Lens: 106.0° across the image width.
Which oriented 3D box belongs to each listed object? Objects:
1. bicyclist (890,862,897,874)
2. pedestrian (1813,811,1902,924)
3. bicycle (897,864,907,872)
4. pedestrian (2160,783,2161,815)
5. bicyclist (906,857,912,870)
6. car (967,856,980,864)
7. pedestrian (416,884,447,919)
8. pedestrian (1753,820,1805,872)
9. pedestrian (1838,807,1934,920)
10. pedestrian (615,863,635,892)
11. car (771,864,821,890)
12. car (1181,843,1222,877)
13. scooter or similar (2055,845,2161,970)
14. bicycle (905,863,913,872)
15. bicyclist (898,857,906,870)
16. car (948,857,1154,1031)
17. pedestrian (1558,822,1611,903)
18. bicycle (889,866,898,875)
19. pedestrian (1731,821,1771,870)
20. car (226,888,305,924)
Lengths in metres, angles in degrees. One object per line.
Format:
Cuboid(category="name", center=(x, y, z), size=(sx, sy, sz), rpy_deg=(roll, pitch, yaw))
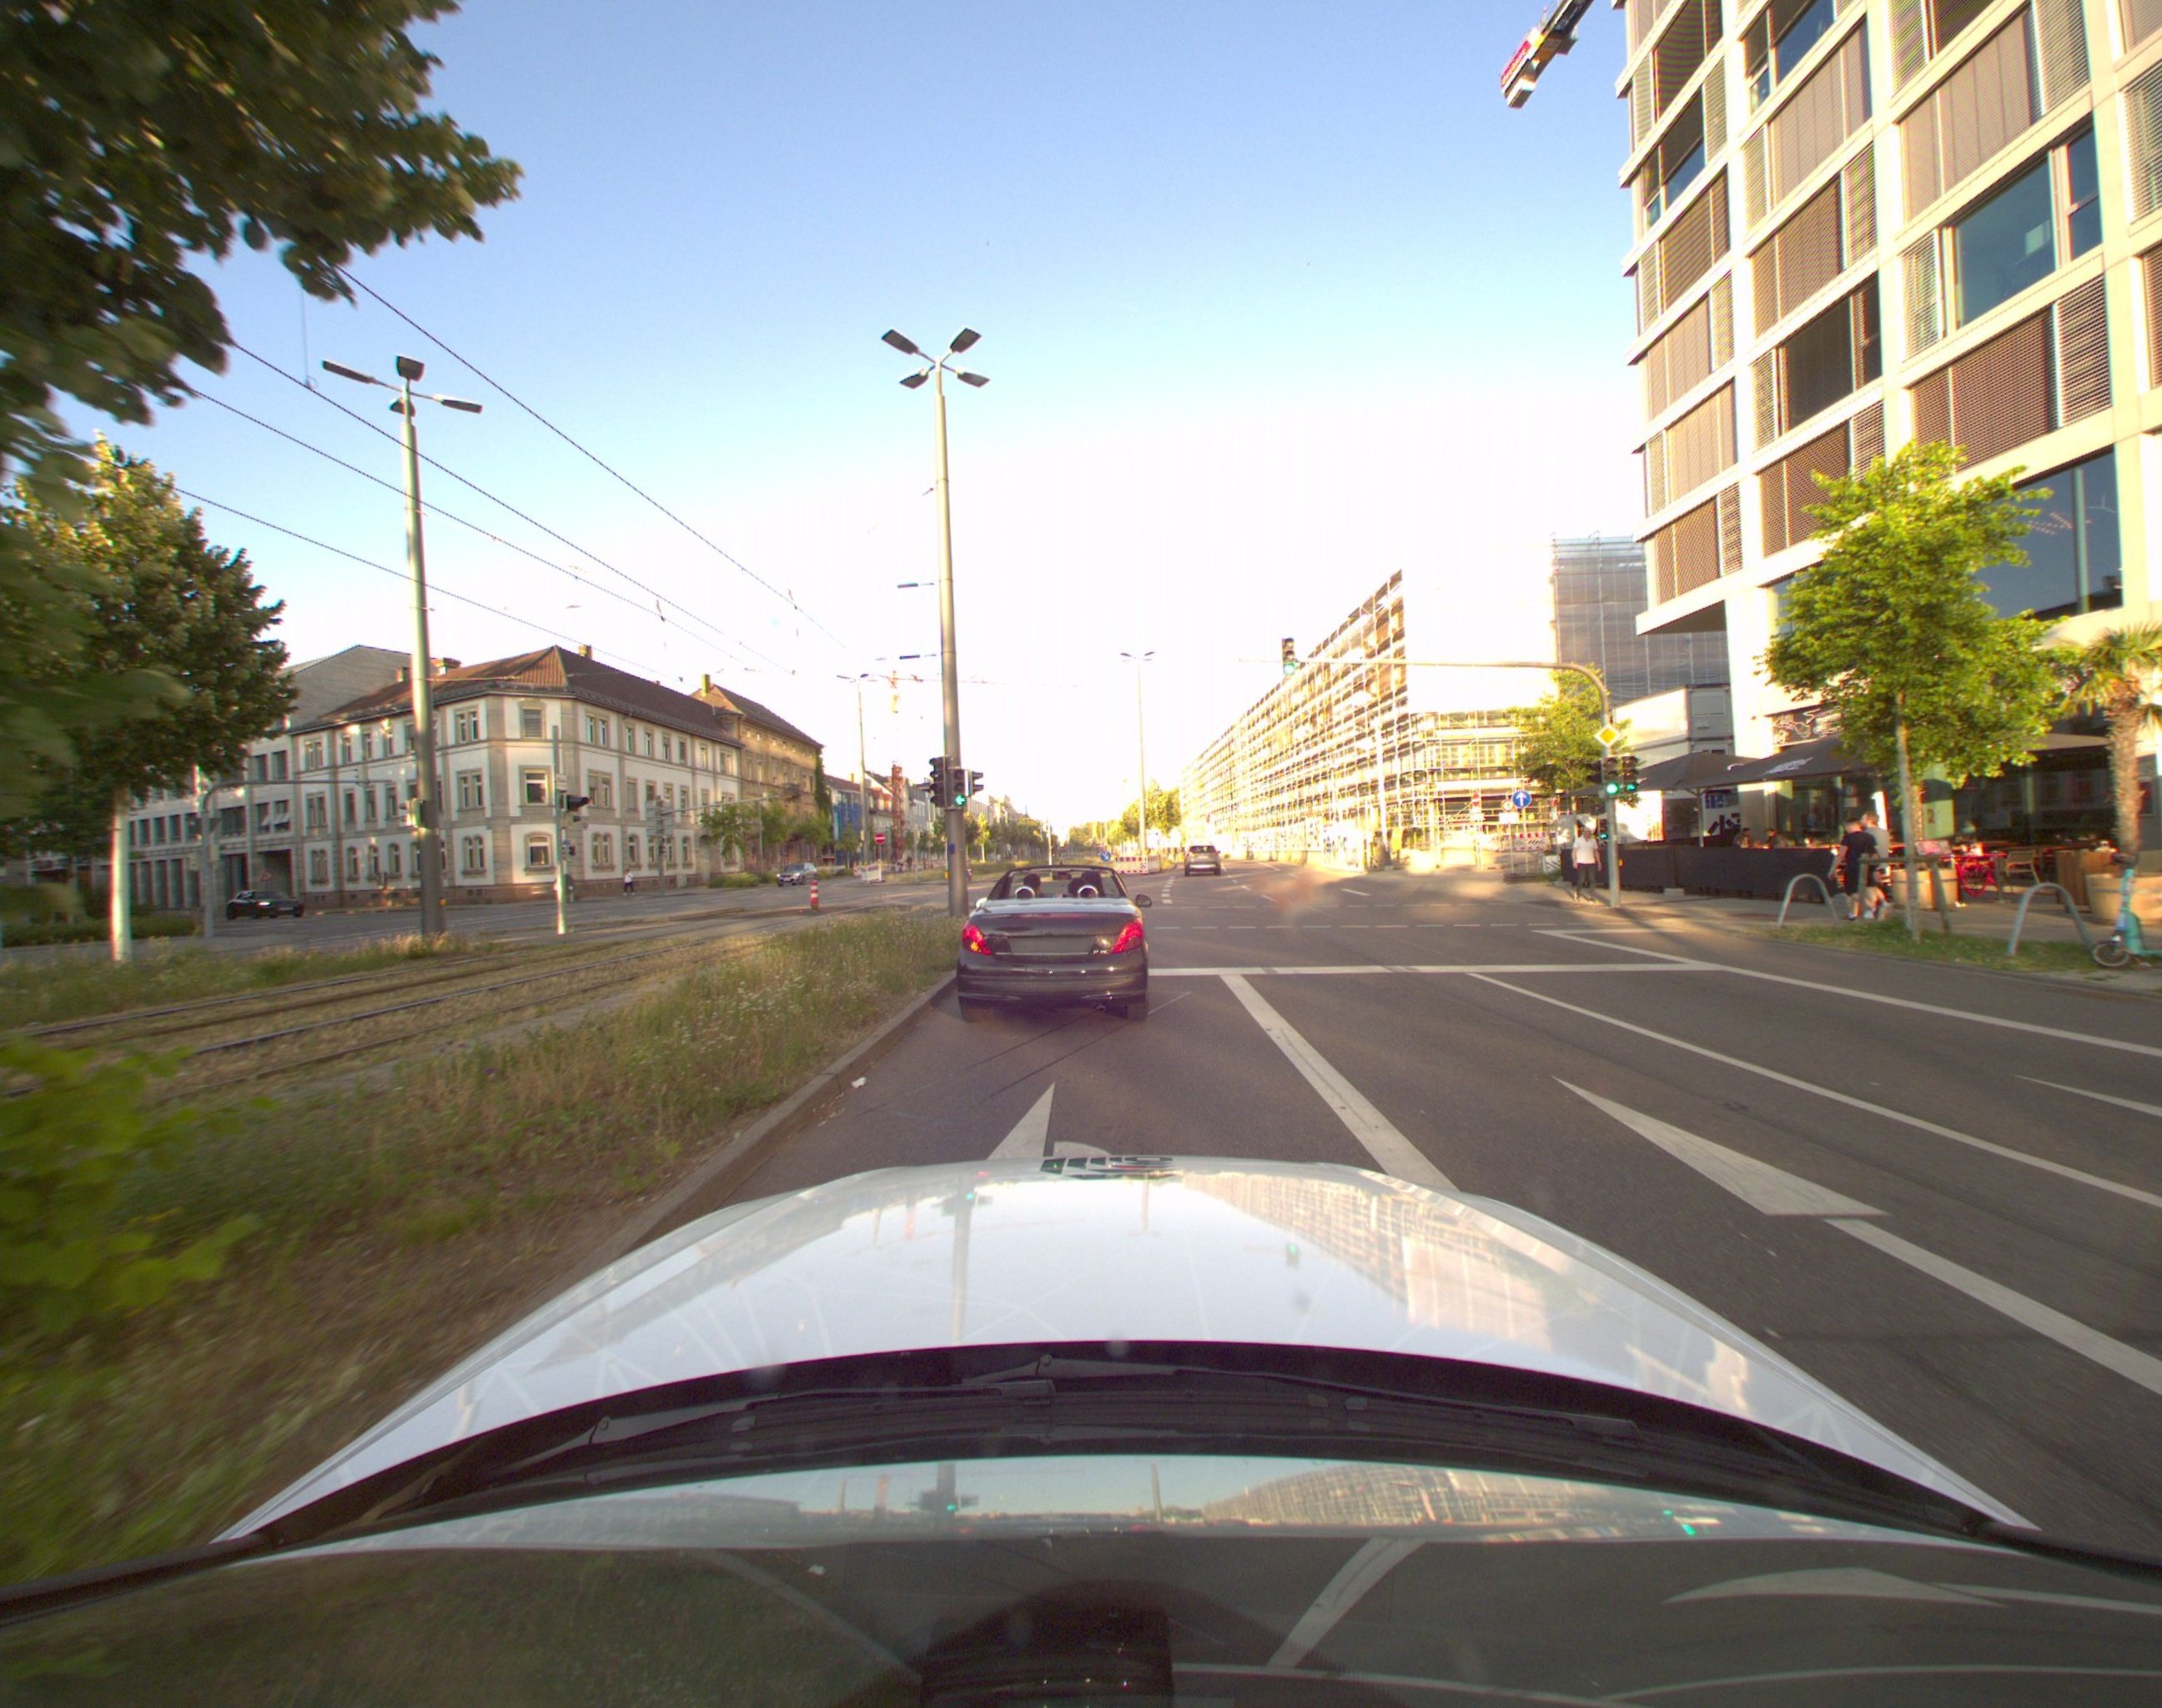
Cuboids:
Cuboid(category="bicyclist", center=(-21.161, 1.586, 91.892), size=(0.588, 1.266, 0.459), rpy_deg=(0, 0, -2))
Cuboid(category="pedestrian", center=(12.367, 0.202, 12.987), size=(0.651, 1.702, 0.689), rpy_deg=(-4, 0, 0))
Cuboid(category="bicycle", center=(-20.972, 1.613, 95.399), size=(0.769, 0.945, 1.641), rpy_deg=(0, 0, 2))
Cuboid(category="pedestrian", center=(17.683, -0.304, 12.741), size=(0.853, 1.703, 0.576), rpy_deg=(-4, 0, -9))
Cuboid(category="bicyclist", center=(-20.140, 1.114, 95.268), size=(0.587, 1.569, 0.711), rpy_deg=(0, 0, 2))
Cuboid(category="car", center=(-20.441, 1.187, 154.816), size=(1.651, 1.431, 3.897), rpy_deg=(0, 0, 2))
Cuboid(category="pedestrian", center=(-28.276, 2.060, 35.444), size=(0.602, 1.458, 0.935), rpy_deg=(0, 0, -2))
Cuboid(category="pedestrian", center=(19.082, -0.223, 22.275), size=(0.740, 1.319, 0.717), rpy_deg=(-5, 0, 13))
Cuboid(category="pedestrian", center=(13.095, 0.142, 13.273), size=(0.683, 1.734, 0.761), rpy_deg=(-5, 0, 0))
Cuboid(category="pedestrian", center=(-28.244, 1.453, 50.408), size=(0.697, 1.715, 0.816), rpy_deg=(0, 0, 16))
Cuboid(category="car", center=(-20.859, 1.648, 59.775), size=(1.986, 1.580, 4.125), rpy_deg=(-4, 0, 1))
Cuboid(category="car", center=(6.294, 0.268, 42.899), size=(1.825, 1.672, 4.288), rpy_deg=(-1, 0, 4))
Cuboid(category="scooter or similar", center=(11.387, 0.550, 8.773), size=(1.049, 1.223, 0.598), rpy_deg=(-4, 0, -4))
Cuboid(category="bicycle", center=(-20.138, 1.616, 95.270), size=(0.587, 0.975, 1.557), rpy_deg=(0, 0, 2))
Cuboid(category="bicyclist", center=(-20.972, 1.111, 95.399), size=(0.769, 1.570, 0.793), rpy_deg=(0, 0, 2))
Cuboid(category="car", center=(-0.222, 0.749, 8.700), size=(1.668, 1.352, 4.000), rpy_deg=(-1, 0, 1))
Cuboid(category="pedestrian", center=(11.914, 0.186, 19.286), size=(0.766, 1.847, 0.678), rpy_deg=(-3, 0, 0))
Cuboid(category="bicycle", center=(-21.161, 1.839, 91.892), size=(0.588, 0.989, 1.555), rpy_deg=(0, 0, -1))
Cuboid(category="pedestrian", center=(19.053, -0.250, 23.181), size=(0.608, 1.319, 0.624), rpy_deg=(-5, 0, 18))
Cuboid(category="car", center=(-40.536, 2.535, 40.482), size=(3.949, 1.555, 1.801), rpy_deg=(0, 0, 30))
